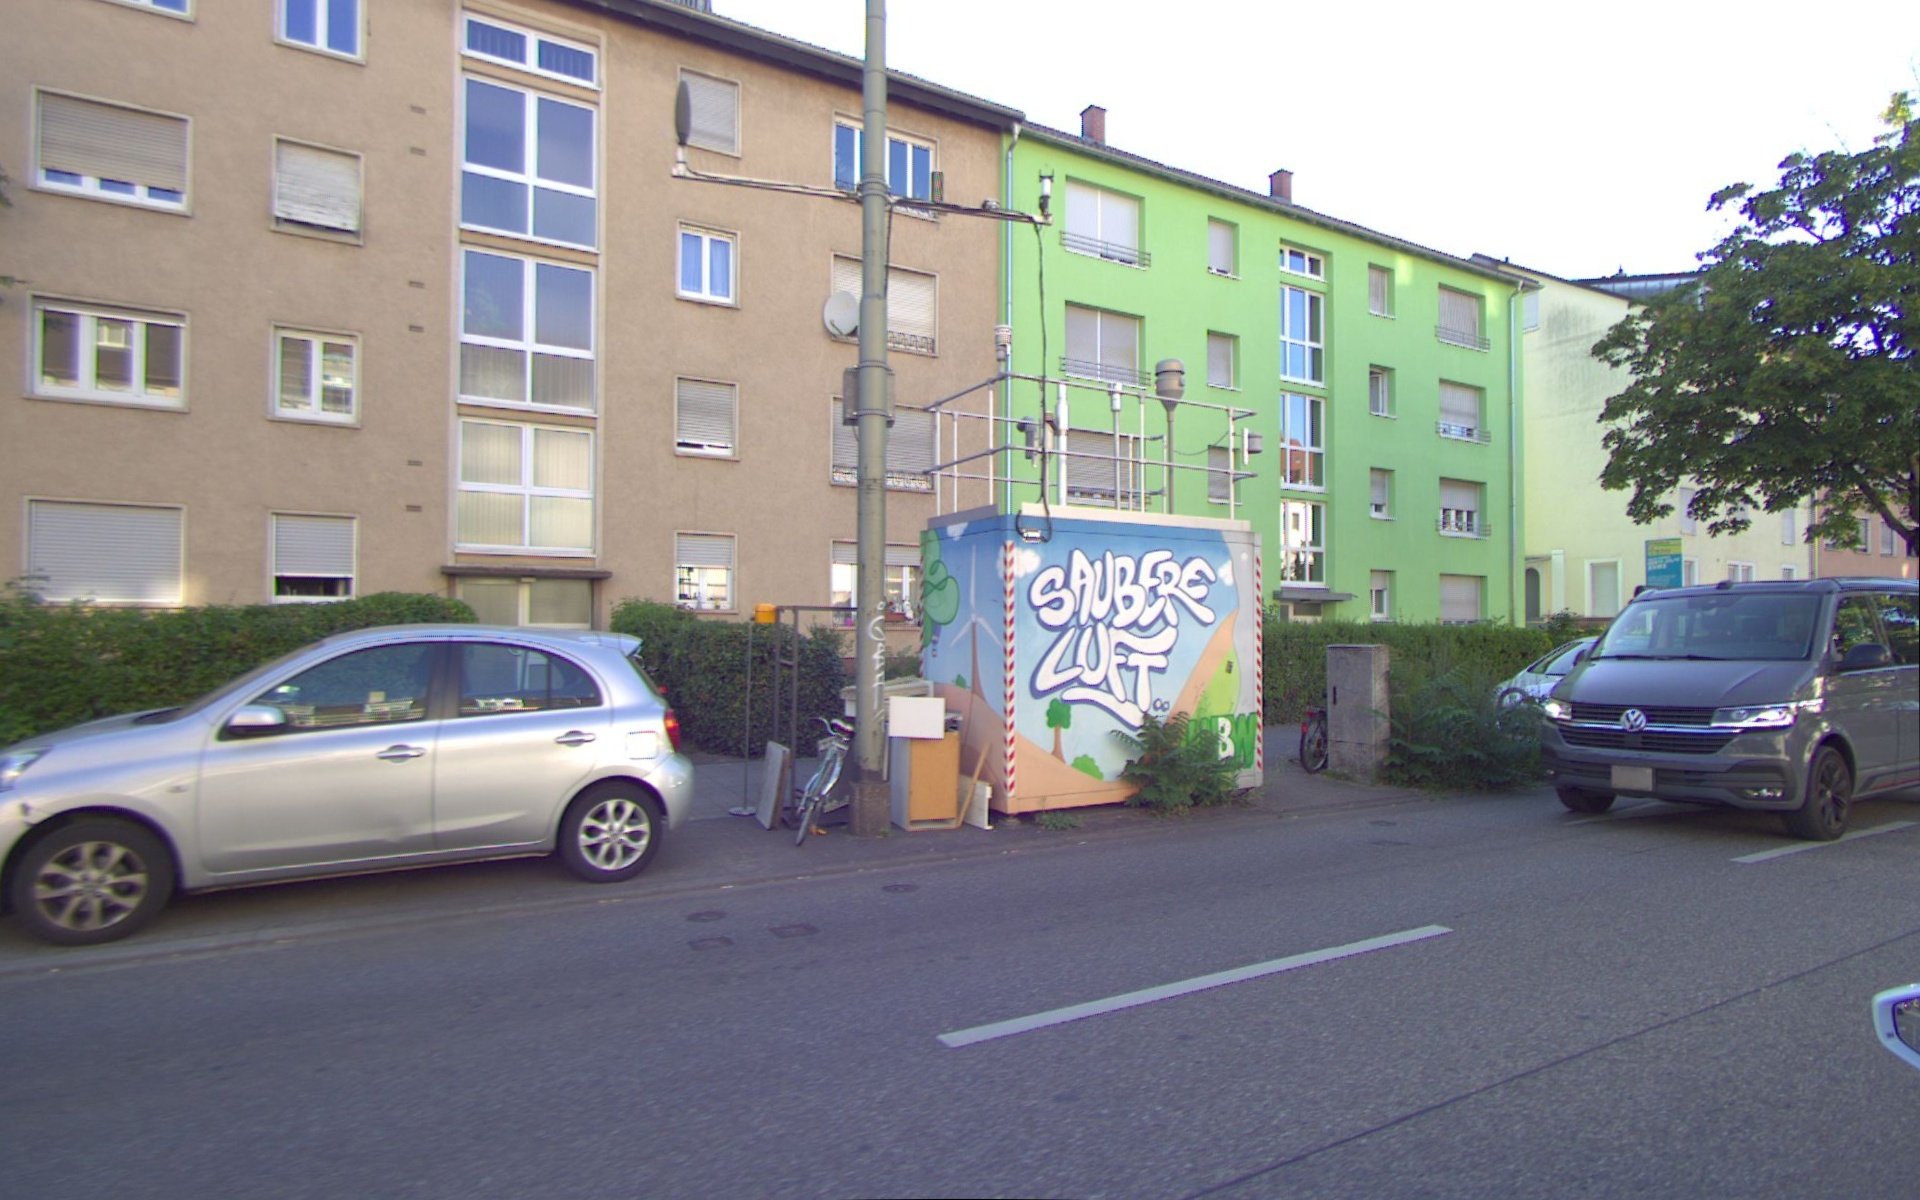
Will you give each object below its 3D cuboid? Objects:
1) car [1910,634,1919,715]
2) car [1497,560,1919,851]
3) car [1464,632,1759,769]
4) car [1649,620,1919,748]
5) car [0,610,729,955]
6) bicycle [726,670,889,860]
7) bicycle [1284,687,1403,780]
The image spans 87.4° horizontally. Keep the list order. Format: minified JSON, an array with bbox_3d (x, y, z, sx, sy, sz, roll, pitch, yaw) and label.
[{"bbox_3d":[20.797,1.513,20.278,2.824,1.638,1.494,1,-1,-27],"label":"car"},{"bbox_3d":[7.122,0.814,8.878,4.721,1.971,1.985,1,-4,-30],"label":"car"},{"bbox_3d":[8.652,1.210,13.266,4.144,1.541,1.674,1,-2,-32],"label":"car"},{"bbox_3d":[12.963,1.224,15.738,4.561,1.755,1.776,1,-2,-30],"label":"car"},{"bbox_3d":[-3.469,0.879,6.067,3.742,1.572,1.629,1,-2,-30],"label":"car"},{"bbox_3d":[-1.221,1.160,7.646,0.576,1.104,1.997,1,0,-28],"label":"bicycle"},{"bbox_3d":[4.119,1.406,10.756,1.528,0.873,0.368,1,0,-34],"label":"bicycle"}]
